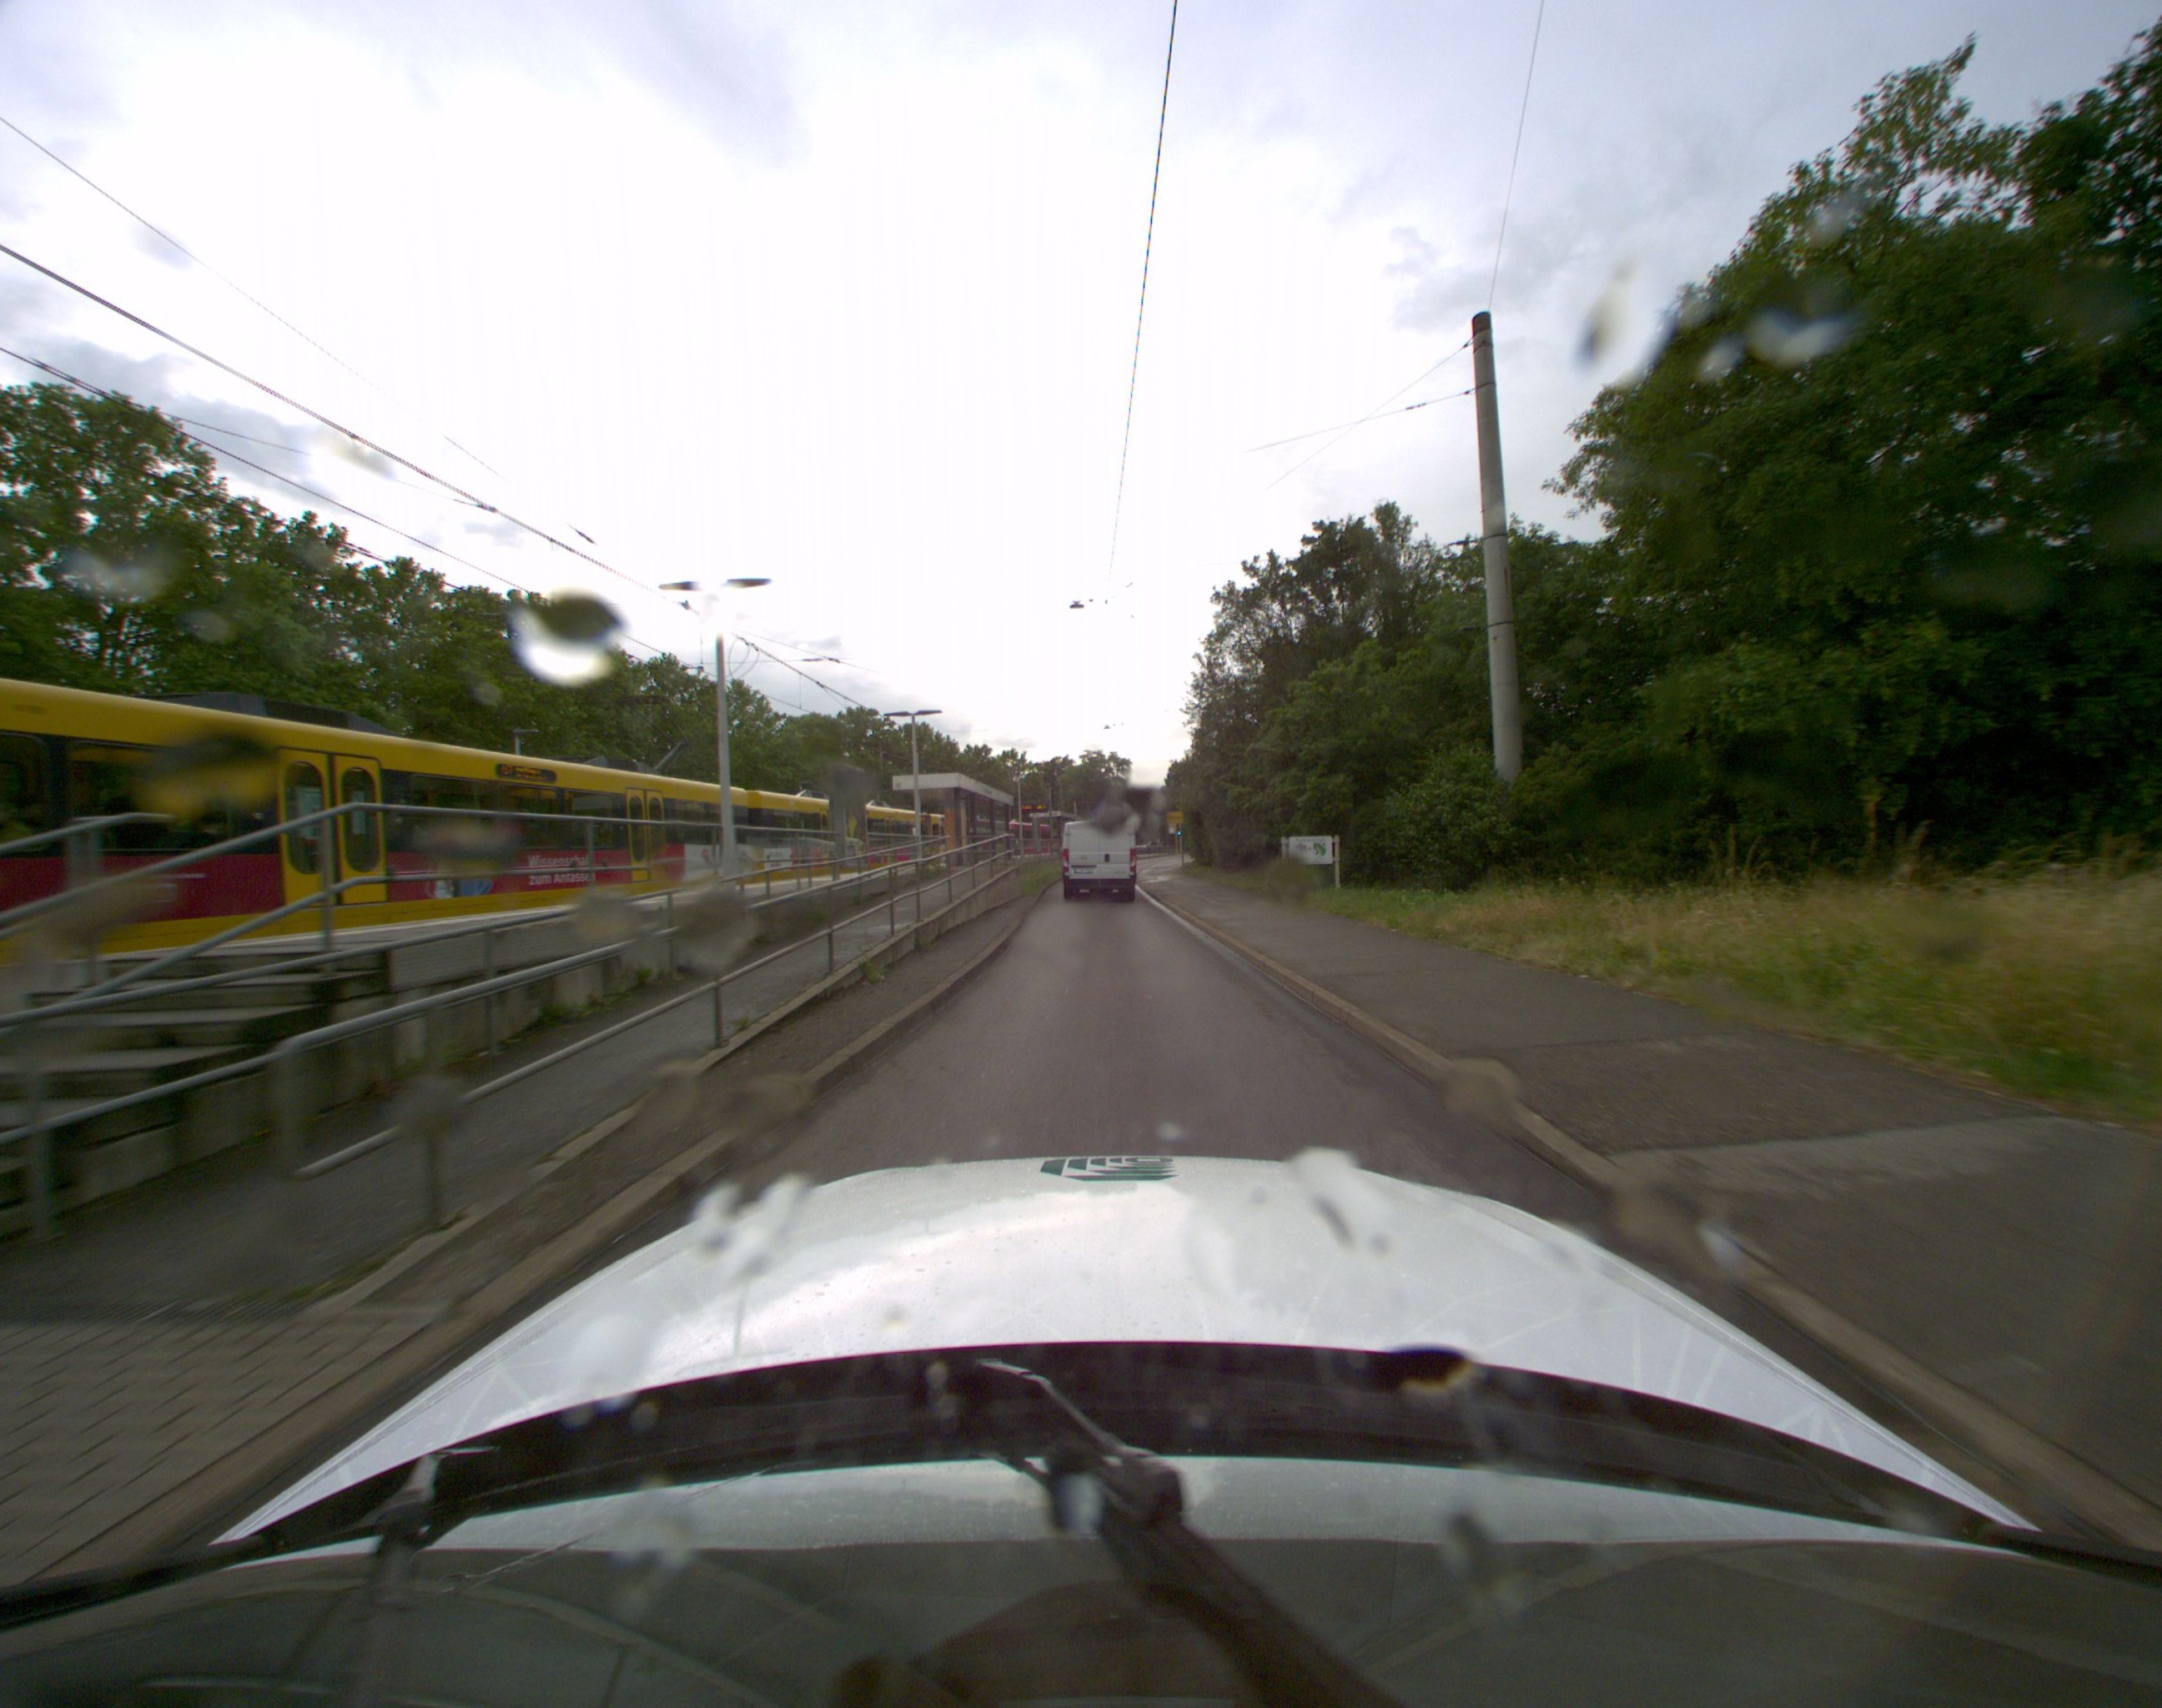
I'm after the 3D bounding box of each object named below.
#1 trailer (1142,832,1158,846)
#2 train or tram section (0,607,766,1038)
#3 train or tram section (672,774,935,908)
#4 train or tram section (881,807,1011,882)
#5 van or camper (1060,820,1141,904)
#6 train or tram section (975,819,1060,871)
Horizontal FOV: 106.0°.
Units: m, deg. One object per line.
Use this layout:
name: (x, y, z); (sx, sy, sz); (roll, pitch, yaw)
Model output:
trailer: (13.691, -2.919, 161.893); (1.997, 2.725, 4.101); (-1, 0, -15)
train or tram section: (-11.104, -0.319, 14.395); (2.857, 3.973, 19.342); (0, 0, 2)
train or tram section: (-9.907, -0.420, 33.598); (2.855, 3.954, 19.354); (0, 0, 4)
train or tram section: (-8.025, -0.562, 52.859); (2.852, 3.970, 19.370); (0, 0, 7)
van or camper: (0.459, 0.204, 24.349); (2.193, 2.252, 4.681); (0, 0, -2)
train or tram section: (-5.128, -0.701, 72.123); (2.850, 3.960, 19.383); (0, 0, 10)
